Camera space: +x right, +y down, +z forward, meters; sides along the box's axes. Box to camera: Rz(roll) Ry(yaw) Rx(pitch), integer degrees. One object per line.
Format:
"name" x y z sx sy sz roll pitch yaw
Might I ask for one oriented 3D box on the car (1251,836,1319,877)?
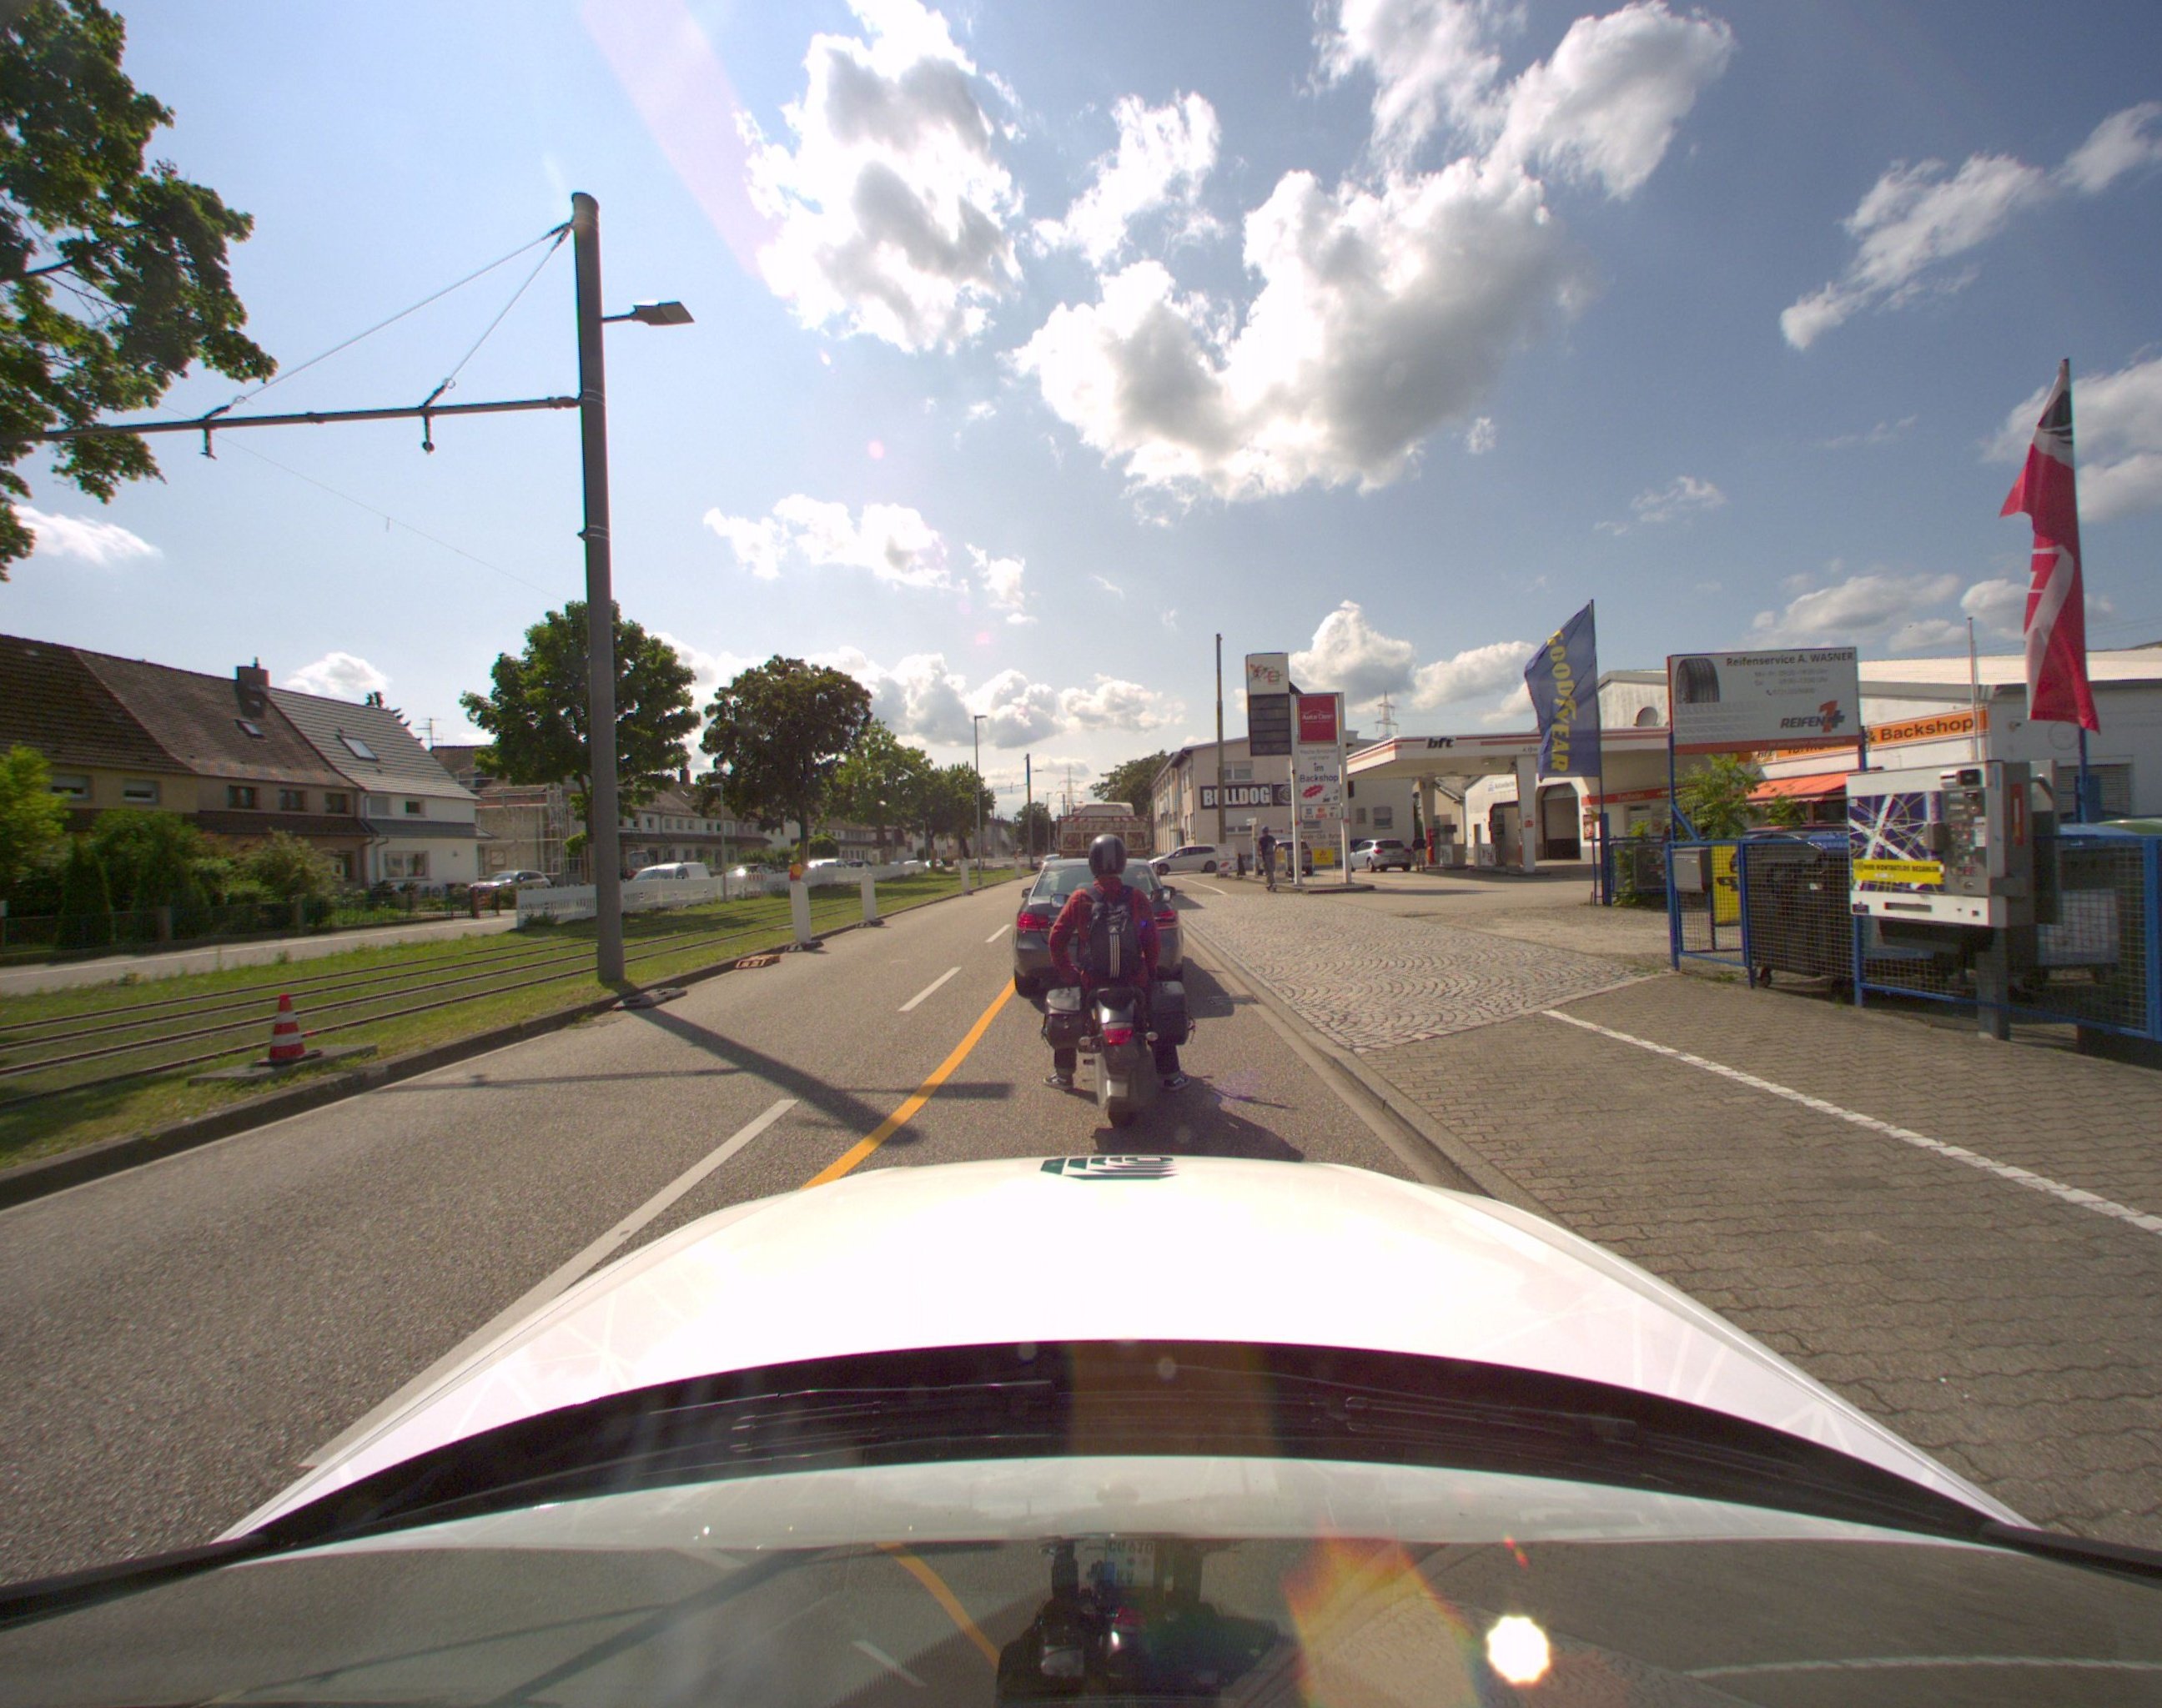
"car" 9.055 0.111 36.475 1.953 1.648 3.999 -3 -1 0

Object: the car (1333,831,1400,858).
"car" 19.812 -0.661 56.640 3.973 1.648 1.966 -3 -1 1

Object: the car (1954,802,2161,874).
"car" 21.866 -0.358 17.931 3.483 1.360 1.612 -3 -1 1

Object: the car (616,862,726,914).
"car" -15.505 1.238 31.068 1.986 1.750 4.001 -3 -1 2

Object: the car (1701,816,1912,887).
"car" 16.461 -0.052 18.611 3.308 1.360 1.612 -3 -1 1

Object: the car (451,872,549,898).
"car" -27.498 1.436 38.723 1.678 1.052 3.982 -3 -1 2

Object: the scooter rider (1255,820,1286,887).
"scooter rider" 5.712 -0.014 24.572 0.714 1.963 0.785 -2 -1 1

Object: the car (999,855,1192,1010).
"car" 0.201 0.758 9.842 1.815 1.424 4.002 -2 0 2

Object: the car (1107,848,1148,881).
"car" 2.196 0.453 39.016 1.814 1.464 4.002 -2 0 2

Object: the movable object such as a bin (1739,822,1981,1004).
"movable object such as a bin" 6.764 0.491 7.140 1.251 1.444 0.824 -3 -1 2

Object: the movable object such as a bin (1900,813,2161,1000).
"movable object such as a bin" 8.131 0.428 7.003 1.251 1.444 0.824 -3 -1 2

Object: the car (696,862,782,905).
"car" -15.255 1.271 36.601 1.986 1.750 4.001 -3 -1 2

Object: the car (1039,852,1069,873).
"car" -1.986 0.611 60.444 1.839 1.386 4.346 -3 -1 2

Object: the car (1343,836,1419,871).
"car" 13.572 -0.001 37.102 1.953 1.420 3.999 -3 -1 0

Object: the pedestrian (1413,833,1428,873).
"pedestrian" 14.791 -0.033 35.497 0.395 1.689 0.486 -3 -1 3

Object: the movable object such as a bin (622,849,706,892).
"movable object such as a bin" -26.068 1.019 51.078 4.351 2.449 1.776 -3 0 -21

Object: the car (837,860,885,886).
"car" -14.953 1.237 55.628 1.986 1.606 4.001 -3 -1 2

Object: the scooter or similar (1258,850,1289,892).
"scooter or similar" 5.735 0.506 24.327 0.538 1.195 1.611 -3 -1 1

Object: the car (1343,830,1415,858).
"car" 19.739 -0.641 54.095 3.973 1.648 1.966 -3 -1 1

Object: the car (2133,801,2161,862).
"car" 26.375 -0.621 17.985 3.992 1.388 1.613 -3 -1 3

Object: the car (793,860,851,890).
"car" -15.186 1.184 47.983 1.986 1.606 4.001 -3 -1 2

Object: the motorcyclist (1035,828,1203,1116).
"motorcyclist" 0.230 0.667 5.184 0.936 1.615 1.205 0 0 1

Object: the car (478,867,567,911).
"car" -24.389 1.497 35.669 1.678 1.722 3.031 -3 -1 2

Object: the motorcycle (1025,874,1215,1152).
"motorcycle" 0.233 0.820 5.364 0.936 1.320 2.646 0 0 2

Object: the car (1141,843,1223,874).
"car" 5.812 0.277 47.217 4.326 1.551 1.945 -3 -1 -7

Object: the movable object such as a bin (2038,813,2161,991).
"movable object such as a bin" 9.453 0.367 7.003 1.318 1.444 0.953 -3 -1 -6

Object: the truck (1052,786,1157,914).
"truck" 0.820 -0.215 26.177 2.600 3.255 9.188 -3 1 2
